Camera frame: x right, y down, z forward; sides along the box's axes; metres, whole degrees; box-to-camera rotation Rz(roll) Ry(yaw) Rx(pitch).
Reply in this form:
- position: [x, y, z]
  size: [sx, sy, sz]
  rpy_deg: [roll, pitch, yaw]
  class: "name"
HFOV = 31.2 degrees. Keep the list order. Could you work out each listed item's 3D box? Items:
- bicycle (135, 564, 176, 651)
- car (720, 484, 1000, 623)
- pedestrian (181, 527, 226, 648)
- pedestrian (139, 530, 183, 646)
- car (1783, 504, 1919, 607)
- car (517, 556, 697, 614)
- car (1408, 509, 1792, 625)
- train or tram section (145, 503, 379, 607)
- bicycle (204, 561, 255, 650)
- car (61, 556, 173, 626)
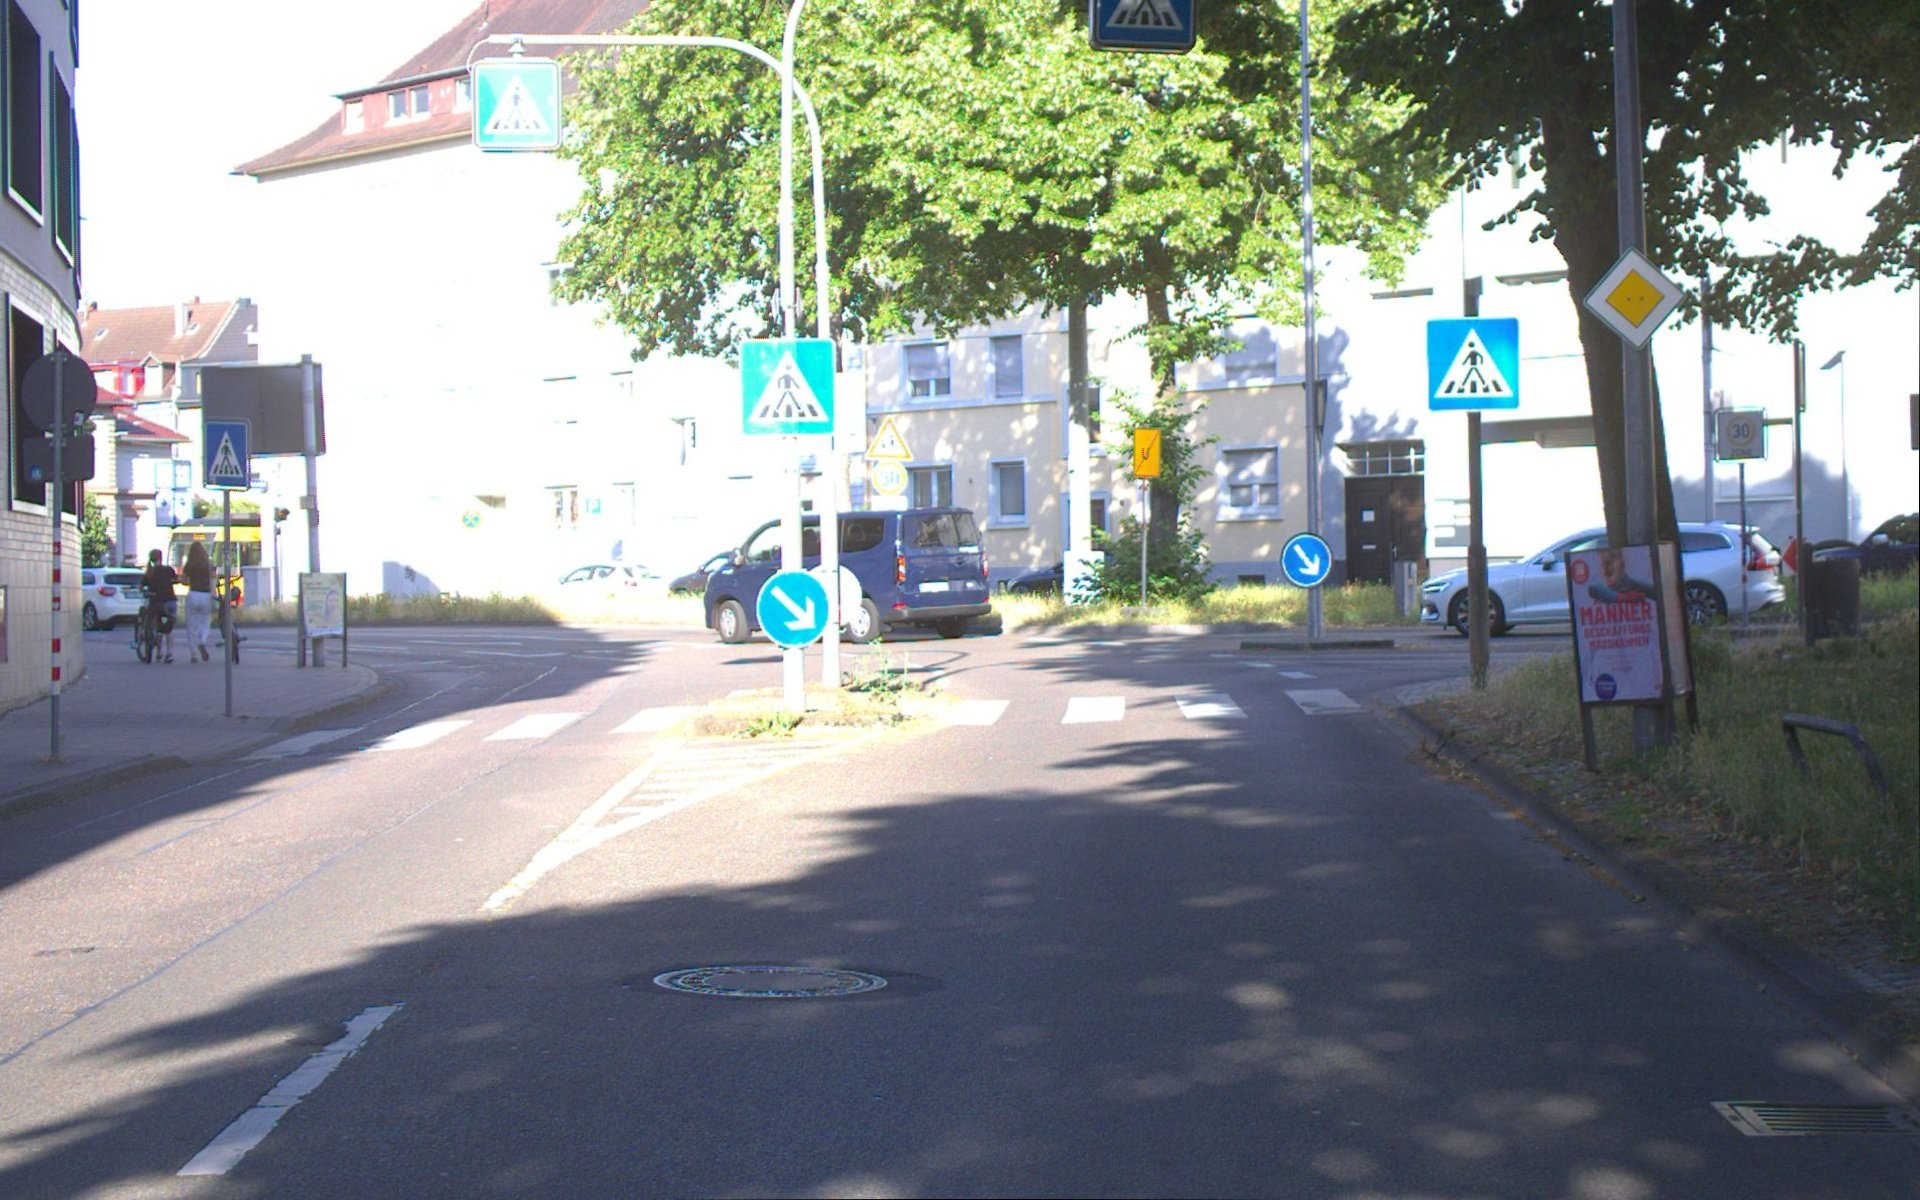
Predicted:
- position: [-11.063, 0.092, 47.259]
  size: [0.375, 1.163, 1.838]
  rpy_deg: [-2, 1, -17]
  class: "bicycle"
- position: [-1.528, -0.690, 51.857]
  size: [3.997, 2.007, 1.995]
  rpy_deg: [0, 1, 44]
  class: "car"
- position: [-10.391, -0.179, 47.214]
  size: [0.474, 1.642, 0.602]
  rpy_deg: [-2, 1, -19]
  class: "pedestrian"
- position: [-10.968, -0.170, 47.174]
  size: [0.474, 1.559, 0.602]
  rpy_deg: [-2, 1, -19]
  class: "pedestrian"
- position: [16.522, -0.779, 59.031]
  size: [1.995, 1.743, 4.207]
  rpy_deg: [-2, 2, -45]
  class: "car"
- position: [-8.813, -0.384, 85.641]
  size: [4.442, 1.381, 1.995]
  rpy_deg: [0, 2, 42]
  class: "car"
- position: [8.496, -0.441, 45.605]
  size: [4.761, 1.458, 1.853]
  rpy_deg: [0, 1, 20]
  class: "car"
- position: [-24.782, -1.600, 122.745]
  size: [2.779, 3.543, 9.907]
  rpy_deg: [-1, 1, 25]
  class: "train or tram section"
- position: [-10.036, 0.068, 47.187]
  size: [0.440, 1.174, 1.967]
  rpy_deg: [0, 1, -19]
  class: "bicycle"
- position: [-19.529, -0.227, 79.539]
  size: [1.958, 1.500, 3.686]
  rpy_deg: [-2, 1, -22]
  class: "car"
